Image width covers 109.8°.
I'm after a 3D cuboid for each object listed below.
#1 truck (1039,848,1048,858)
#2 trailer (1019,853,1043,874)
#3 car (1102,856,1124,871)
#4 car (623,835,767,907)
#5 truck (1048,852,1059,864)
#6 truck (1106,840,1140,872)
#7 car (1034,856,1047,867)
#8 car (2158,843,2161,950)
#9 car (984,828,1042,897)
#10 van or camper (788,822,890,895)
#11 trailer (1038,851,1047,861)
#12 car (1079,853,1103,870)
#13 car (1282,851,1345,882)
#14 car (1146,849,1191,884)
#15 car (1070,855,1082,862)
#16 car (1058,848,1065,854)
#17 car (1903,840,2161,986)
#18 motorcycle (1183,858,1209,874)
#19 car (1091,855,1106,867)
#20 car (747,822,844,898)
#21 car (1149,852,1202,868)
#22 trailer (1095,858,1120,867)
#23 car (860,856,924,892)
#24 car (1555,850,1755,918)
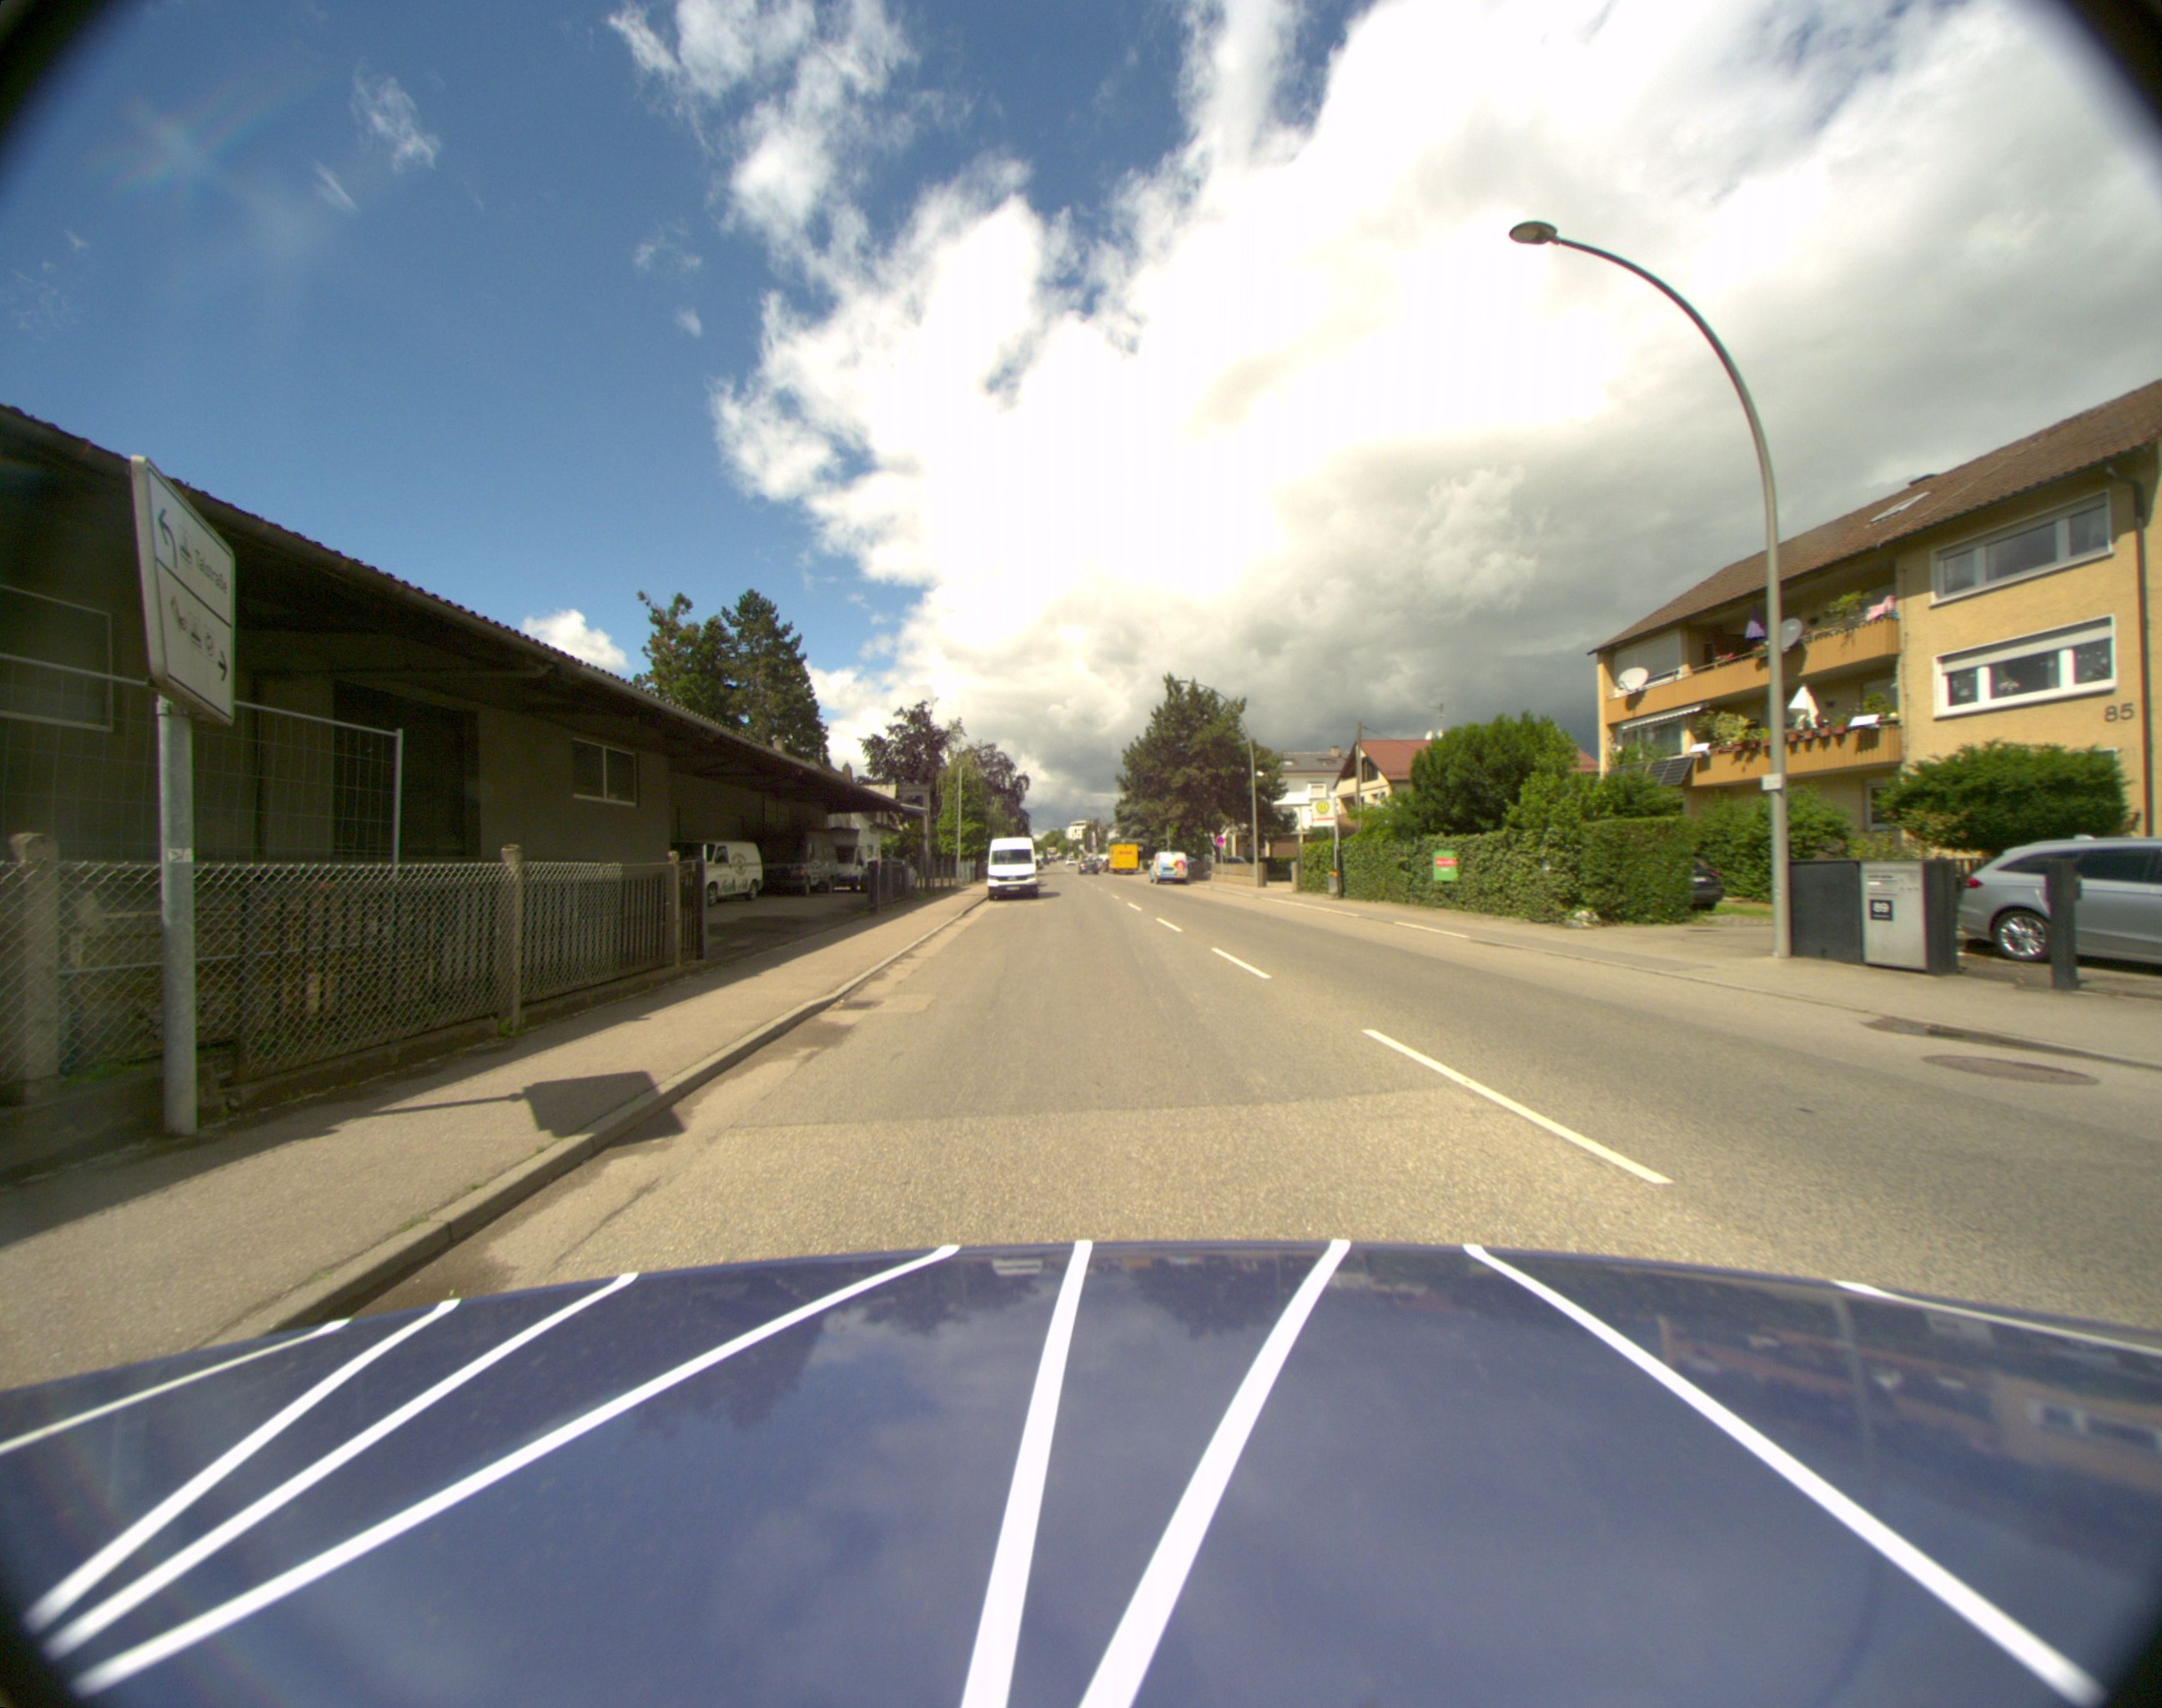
[{"bbox_3d":[-10.826,-0.216,217.744,2.411,2.722,6.639,-3,1,-2],"label":"truck"},{"bbox_3d":[-4.670,0.850,71.702,1.999,1.812,4.763,-3,0,-2],"label":"trailer"},{"bbox_3d":[3.446,0.981,82.478,1.999,1.445,4.810,3,0,-2],"label":"car"},{"bbox_3d":[-11.351,0.473,22.827,1.999,1.898,4.852,-1,-1,-3],"label":"car"},{"bbox_3d":[-7.567,1.063,210.198,2.881,3.290,8.604,-3,1,-2],"label":"truck"},{"bbox_3d":[4.025,0.189,74.788,2.330,2.985,7.815,1,0,-4],"label":"truck"},{"bbox_3d":[-6.348,1.161,119.730,1.812,1.566,4.187,-3,0,-2],"label":"car"},{"bbox_3d":[14.829,0.560,7.776,1.848,1.418,4.334,-1,0,9],"label":"car"},{"bbox_3d":[-2.846,0.328,32.790,2.221,2.673,6.655,0,0,-4],"label":"car"},{"bbox_3d":[-11.141,0.176,35.723,2.889,3.043,6.911,-1,0,-4],"label":"van or camper"},{"bbox_3d":[-8.390,0.504,166.191,2.045,2.214,5.078,0,0,-2],"label":"trailer"},{"bbox_3d":[0.885,0.694,71.173,1.906,1.509,4.317,0,0,-3],"label":"car"},{"bbox_3d":[14.603,0.739,48.053,2.085,1.820,5.477,0,0,-3],"label":"car"},{"bbox_3d":[5.098,0.733,44.914,1.838,1.842,4.895,2,-1,-2],"label":"car"},{"bbox_3d":[-0.922,0.813,146.373,1.988,1.412,3.998,0,0,-5],"label":"car"},{"bbox_3d":[-6.261,-0.991,239.813,1.860,1.685,3.998,-1,0,-6],"label":"car"},{"bbox_3d":[12.011,0.587,7.769,1.997,1.477,5.344,-1,0,9],"label":"car"},{"bbox_3d":[8.743,0.916,57.820,1.873,1.158,0.825,-1,0,14],"label":"motorcycle"},{"bbox_3d":[2.403,0.956,106.617,1.809,1.666,4.126,1,0,-2],"label":"car"},{"bbox_3d":[-11.002,0.279,29.780,2.023,2.665,5.496,-1,-1,-4],"label":"car"},{"bbox_3d":[9.570,0.598,77.369,5.022,1.543,1.972,-1,1,-4],"label":"car"},{"bbox_3d":[3.054,0.961,88.780,2.325,0.985,7.457,1,0,-2],"label":"trailer"},{"bbox_3d":[-8.299,0.850,33.740,1.769,1.480,4.925,-1,-1,-3],"label":"car"},{"bbox_3d":[13.533,0.634,18.308,1.849,1.418,4.332,-1,0,5],"label":"car"}]
